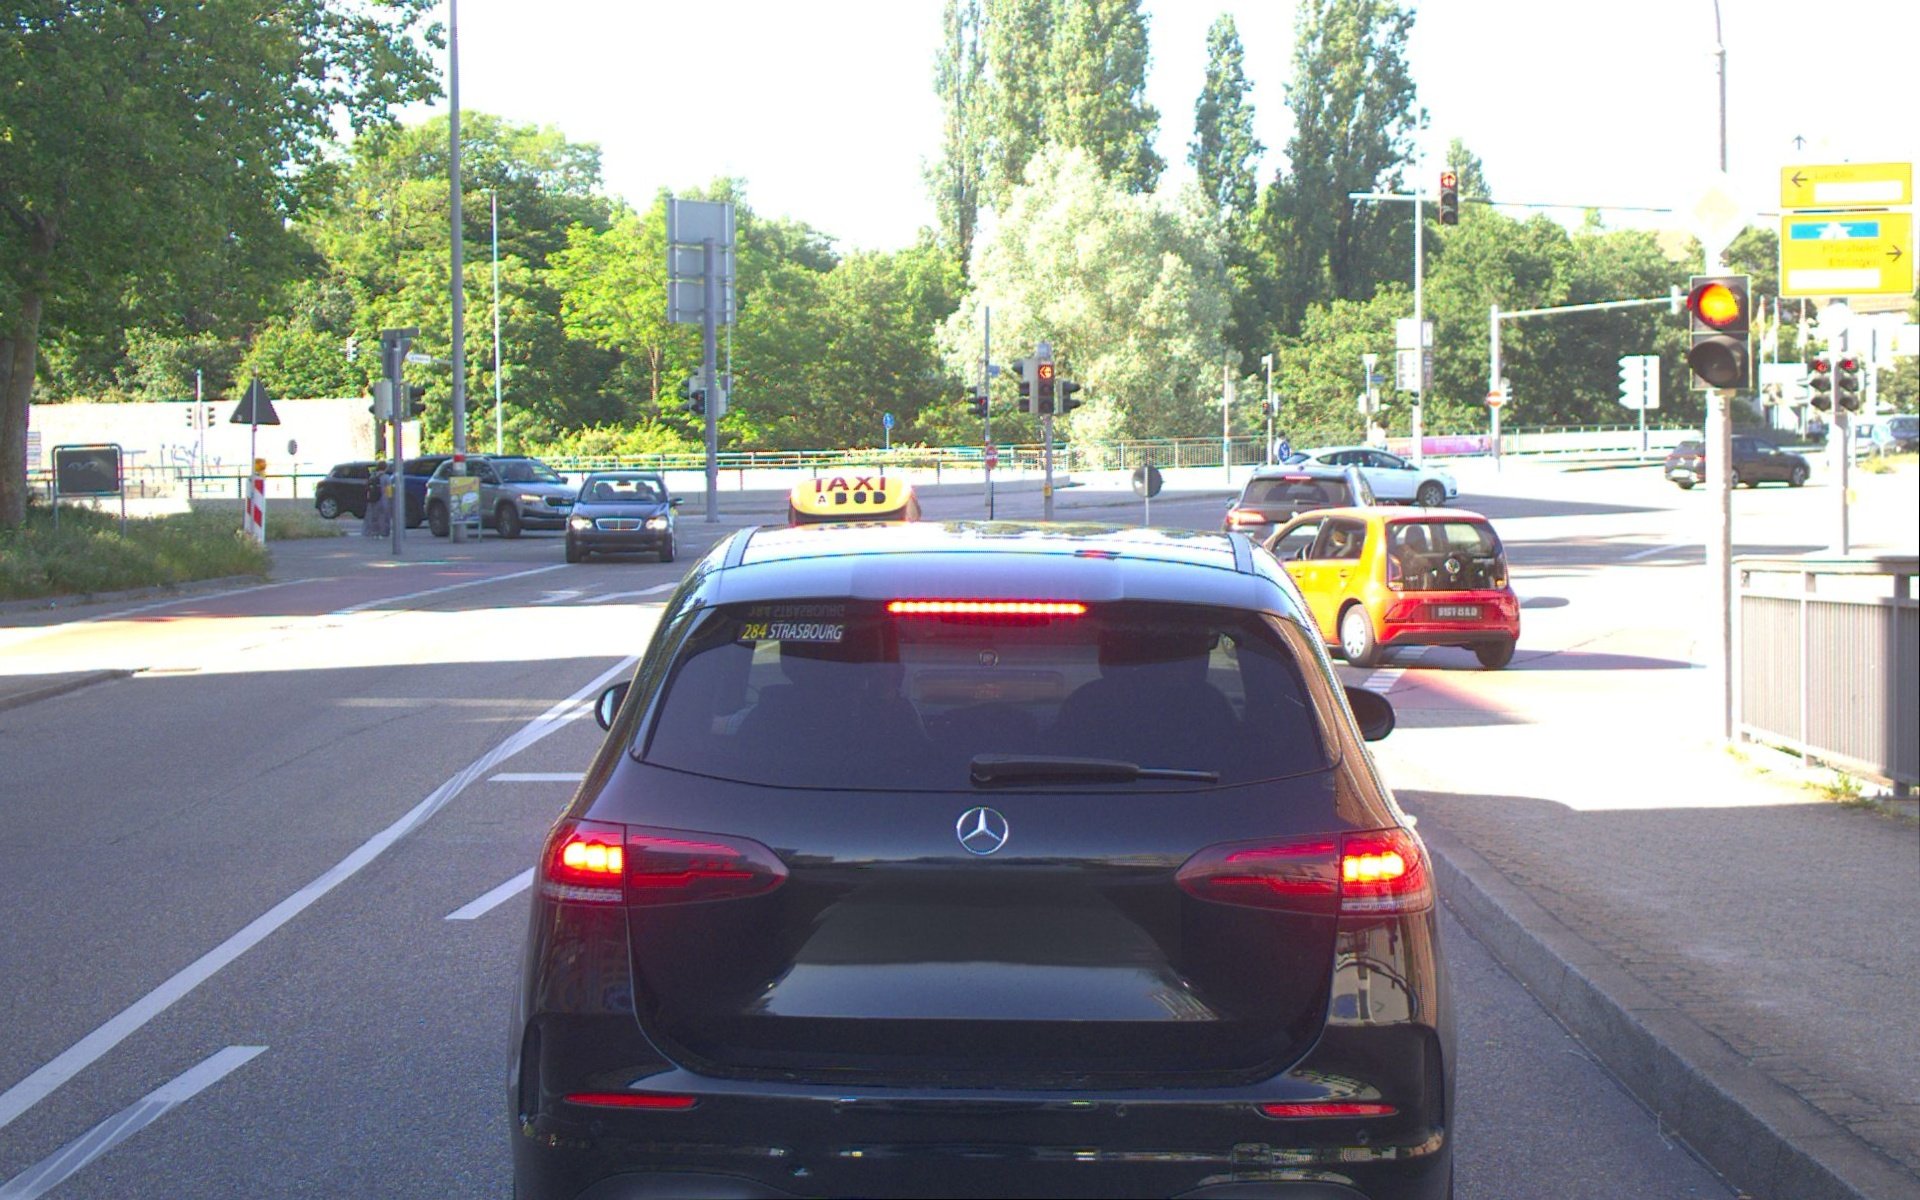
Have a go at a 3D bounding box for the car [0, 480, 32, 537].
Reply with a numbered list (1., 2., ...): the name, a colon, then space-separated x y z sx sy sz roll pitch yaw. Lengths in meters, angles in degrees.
1. car: -26.777 -2.443 92.322 3.997 1.492 1.740 1 1 44

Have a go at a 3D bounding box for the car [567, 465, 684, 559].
1. car: -5.456 -1.478 56.440 1.741 1.402 4.202 -1 3 -4

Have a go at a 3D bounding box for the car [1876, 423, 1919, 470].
1. car: 33.574 -5.370 119.815 1.882 1.573 3.992 1 3 36

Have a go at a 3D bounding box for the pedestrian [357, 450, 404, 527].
1. pedestrian: -11.465 -2.205 67.989 0.705 1.520 0.743 1 2 10

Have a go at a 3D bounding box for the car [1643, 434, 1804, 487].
1. car: 20.661 -3.787 92.969 4.582 1.290 1.886 -4 5 -41

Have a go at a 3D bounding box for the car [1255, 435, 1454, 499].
1. car: 9.330 -3.163 81.465 4.299 1.360 2.001 -2 3 -8

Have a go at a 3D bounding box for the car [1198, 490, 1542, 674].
1. car: 3.873 -0.223 33.005 1.721 1.516 3.487 -2 4 -24

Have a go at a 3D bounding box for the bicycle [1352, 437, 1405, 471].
1. bicycle: 13.192 -4.606 108.355 0.527 1.046 1.985 1 3 44

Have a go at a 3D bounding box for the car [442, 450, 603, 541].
1. car: -8.766 -2.107 68.629 1.804 1.617 4.001 0 4 -29

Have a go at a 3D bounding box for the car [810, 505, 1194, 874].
1. car: 0.234 0.345 16.725 1.640 1.524 3.474 -1 2 2

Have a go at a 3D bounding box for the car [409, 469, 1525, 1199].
1. car: -0.013 0.539 7.840 1.878 1.608 4.000 1 2 -1

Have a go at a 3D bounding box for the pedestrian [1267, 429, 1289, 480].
1. pedestrian: 9.985 -4.559 107.815 0.451 1.580 0.500 1 3 40

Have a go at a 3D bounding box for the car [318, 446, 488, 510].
1. car: -14.182 -3.091 87.535 3.994 1.542 1.887 1 1 31

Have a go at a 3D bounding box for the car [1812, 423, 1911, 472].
1. car: 30.083 -5.106 114.661 1.882 1.573 3.992 1 3 36

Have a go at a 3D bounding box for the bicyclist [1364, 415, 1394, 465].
1. bicyclist: 13.191 -5.034 108.327 0.527 1.545 0.805 0 3 44

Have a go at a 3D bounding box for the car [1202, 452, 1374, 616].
1. car: 4.095 -0.885 43.507 1.721 1.805 4.298 3 4 0
